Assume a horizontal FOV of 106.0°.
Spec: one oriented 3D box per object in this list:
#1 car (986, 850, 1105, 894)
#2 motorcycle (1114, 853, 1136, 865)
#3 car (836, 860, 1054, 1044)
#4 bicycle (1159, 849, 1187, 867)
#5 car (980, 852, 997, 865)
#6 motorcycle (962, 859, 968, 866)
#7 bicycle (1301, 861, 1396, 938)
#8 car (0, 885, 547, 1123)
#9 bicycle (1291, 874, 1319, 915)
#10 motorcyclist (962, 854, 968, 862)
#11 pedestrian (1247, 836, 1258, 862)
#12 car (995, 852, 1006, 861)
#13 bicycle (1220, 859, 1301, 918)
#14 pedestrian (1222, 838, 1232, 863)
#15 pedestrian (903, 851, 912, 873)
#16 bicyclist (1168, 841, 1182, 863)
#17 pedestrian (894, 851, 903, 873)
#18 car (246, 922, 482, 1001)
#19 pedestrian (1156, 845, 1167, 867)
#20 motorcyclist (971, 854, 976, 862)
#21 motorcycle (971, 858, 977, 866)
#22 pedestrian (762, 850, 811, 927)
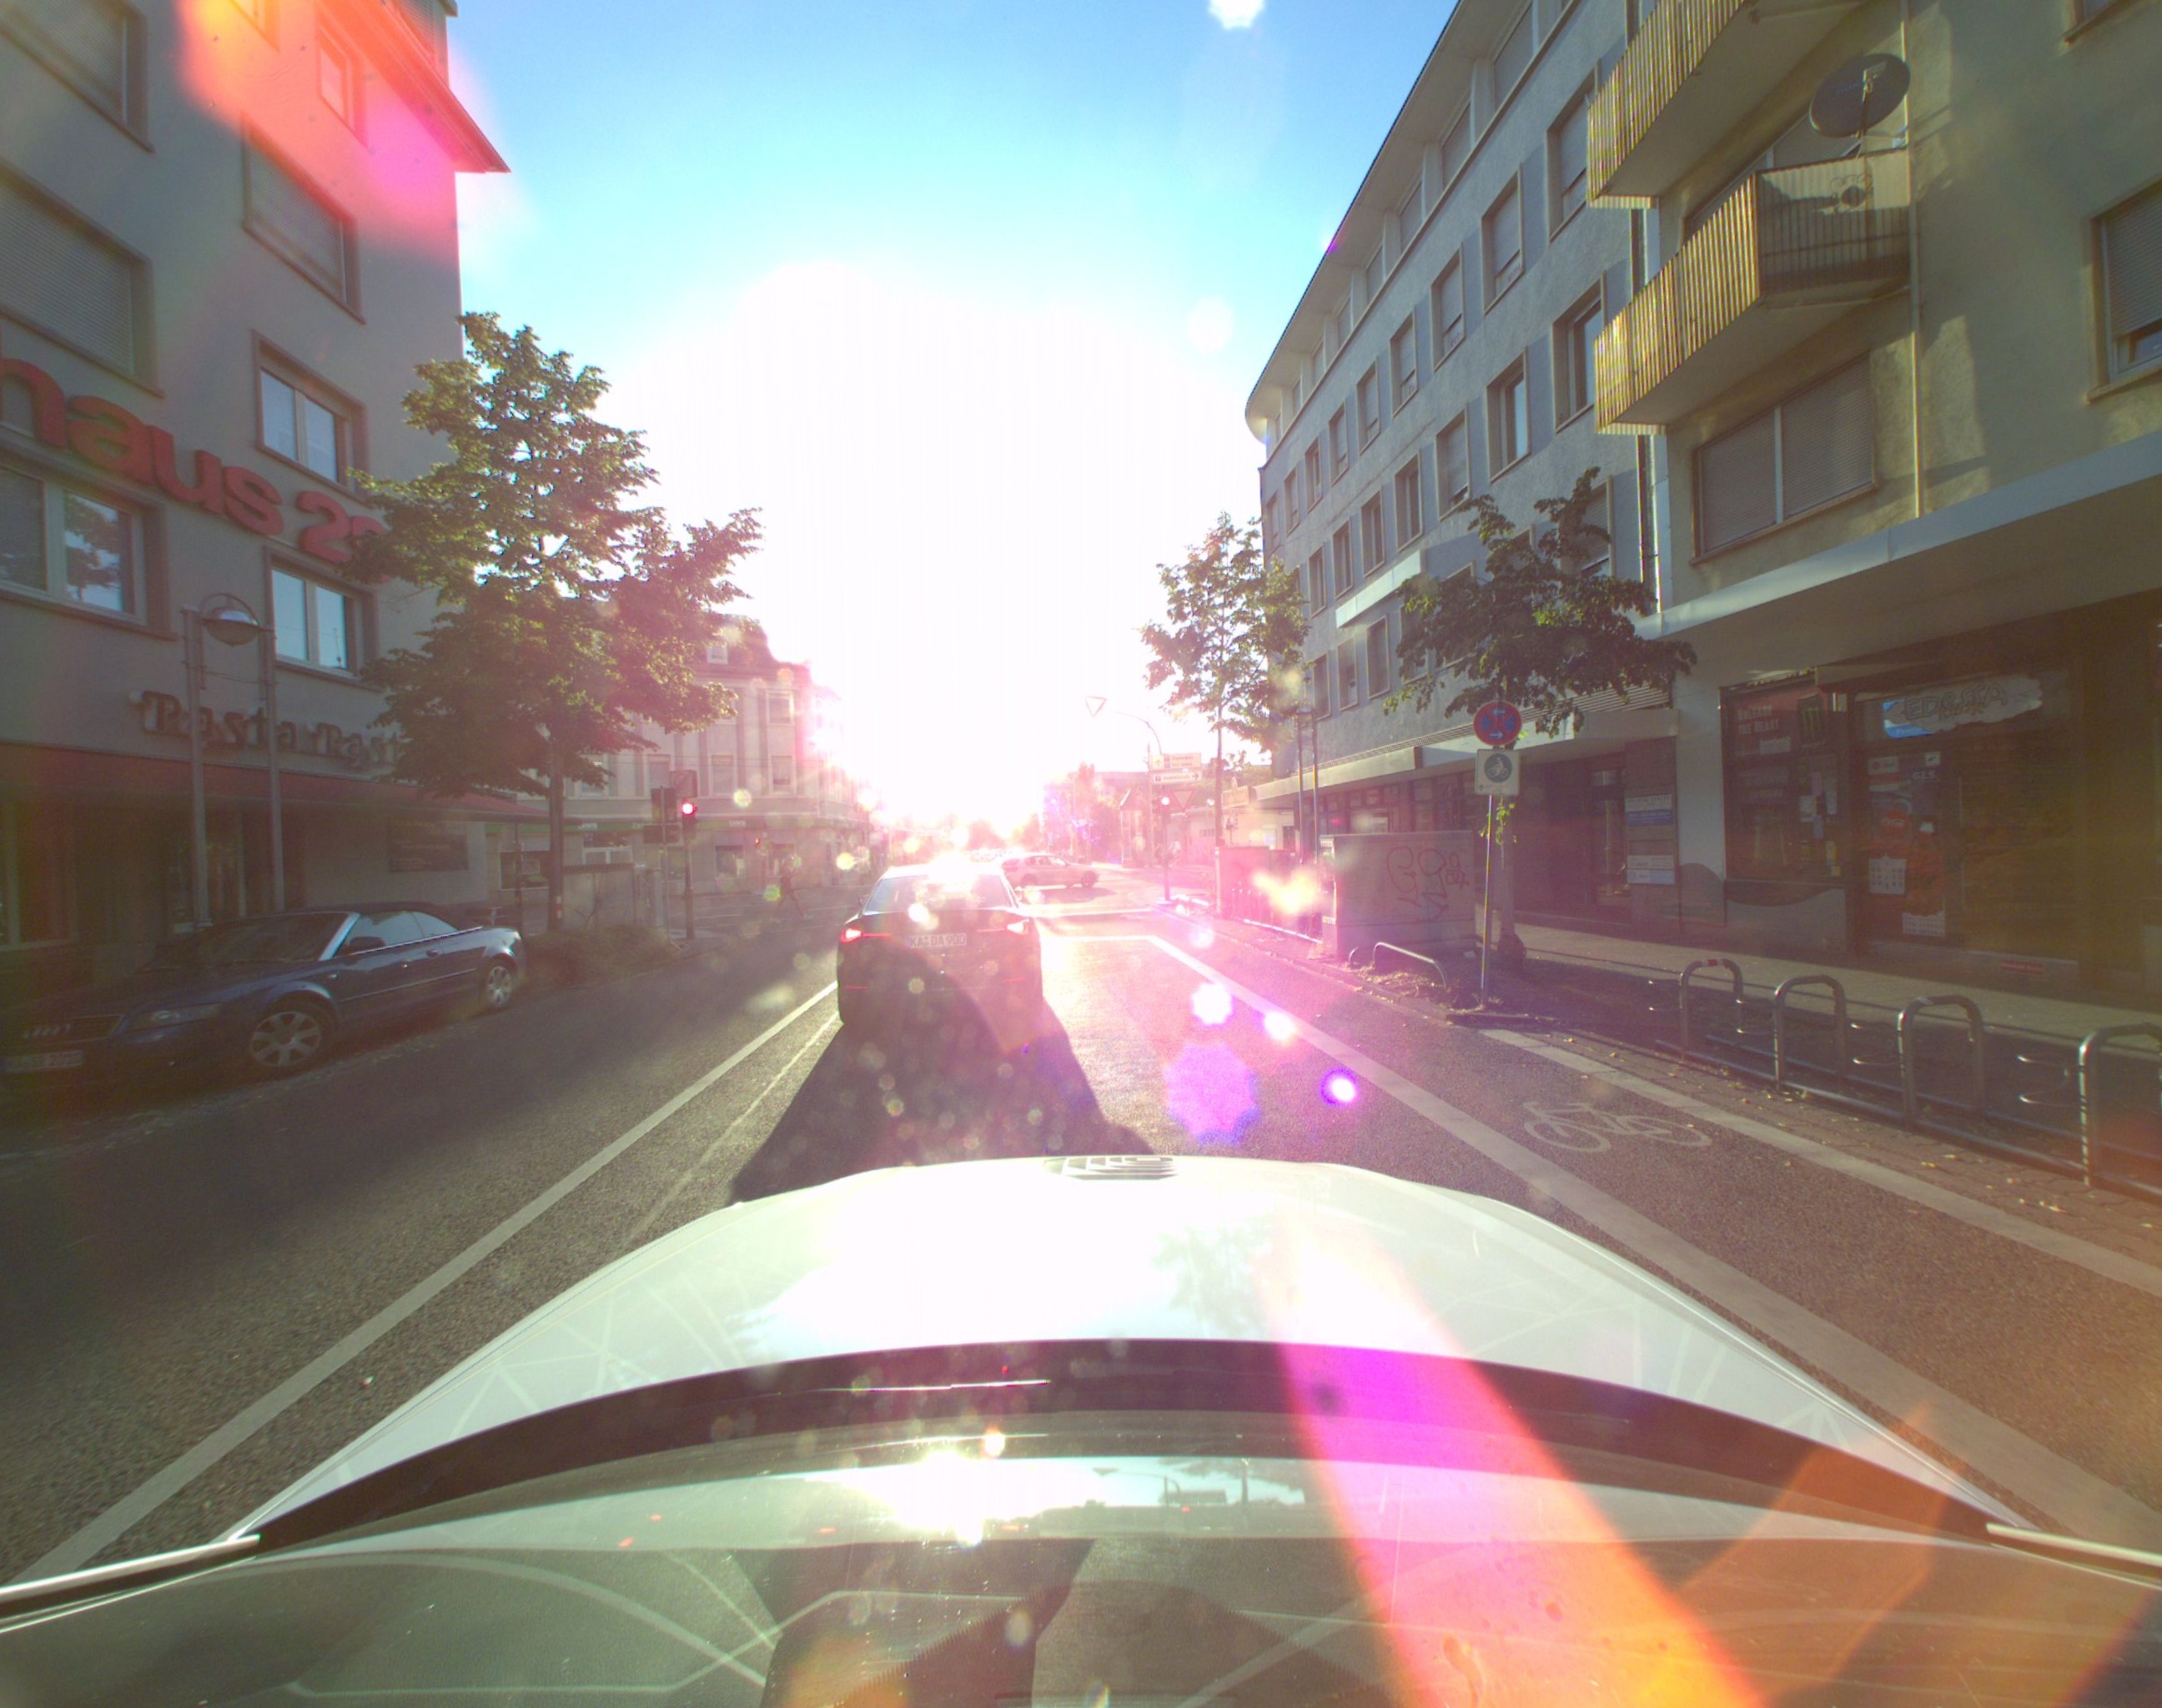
[{"bbox_3d":[-1.412,0.692,32.723,4.334,1.498,1.981,-2,0,-30],"label":"car"},{"bbox_3d":[3.754,0.422,69.926,1.672,0.939,0.851,-2,0,-16],"label":"motorcycle"},{"bbox_3d":[-1.297,0.804,8.737,1.734,1.428,4.215,-1,0,-6],"label":"car"},{"bbox_3d":[6.092,0.246,54.067,0.554,1.159,2.120,0,-1,-37],"label":"bicycle"},{"bbox_3d":[-11.095,0.516,97.493,1.815,1.519,3.994,-2,0,-4],"label":"car"},{"bbox_3d":[-13.891,1.007,97.271,0.574,0.915,2.197,0,0,-4],"label":"motorcycle"},{"bbox_3d":[4.360,0.739,13.310,1.438,1.220,0.383,0,0,-4],"label":"bicycle"},{"bbox_3d":[-7.322,1.145,7.857,1.720,1.415,4.272,-4,0,-5],"label":"car"},{"bbox_3d":[4.754,0.848,17.329,0.249,0.796,1.114,0,0,-3],"label":"bicycle"},{"bbox_3d":[-13.885,0.475,97.210,0.574,0.915,2.197,0,0,-4],"label":"motorcyclist"},{"bbox_3d":[11.684,-0.326,55.533,0.481,1.734,0.526,0,0,-30],"label":"pedestrian"},{"bbox_3d":[-14.781,0.422,149.632,1.815,1.519,3.994,-2,0,-4],"label":"car"},{"bbox_3d":[3.776,0.718,17.199,1.609,1.171,0.318,-2,0,-3],"label":"bicycle"},{"bbox_3d":[10.018,-0.260,55.892,0.445,1.734,0.430,0,0,-30],"label":"pedestrian"},{"bbox_3d":[-14.678,0.666,68.982,0.675,1.876,0.616,0,0,-5],"label":"pedestrian"},{"bbox_3d":[6.237,-0.127,53.857,0.554,1.481,0.714,0,-1,-37],"label":"bicyclist"},{"bbox_3d":[-15.419,0.673,68.850,0.642,1.876,0.631,0,0,-5],"label":"pedestrian"},{"bbox_3d":[-18.995,2.805,21.895,4.434,1.473,1.800,-2,1,-30],"label":"car"},{"bbox_3d":[5.492,0.134,55.460,0.730,1.529,0.473,0,0,3],"label":"pedestrian"},{"bbox_3d":[-12.737,0.466,96.773,0.574,0.995,0.701,0,0,-5],"label":"motorcyclist"},{"bbox_3d":[-12.716,0.998,96.884,0.574,0.915,2.197,0,0,-4],"label":"motorcycle"},{"bbox_3d":[-7.659,0.880,21.174,1.006,1.860,0.635,-5,2,-25],"label":"pedestrian"}]
